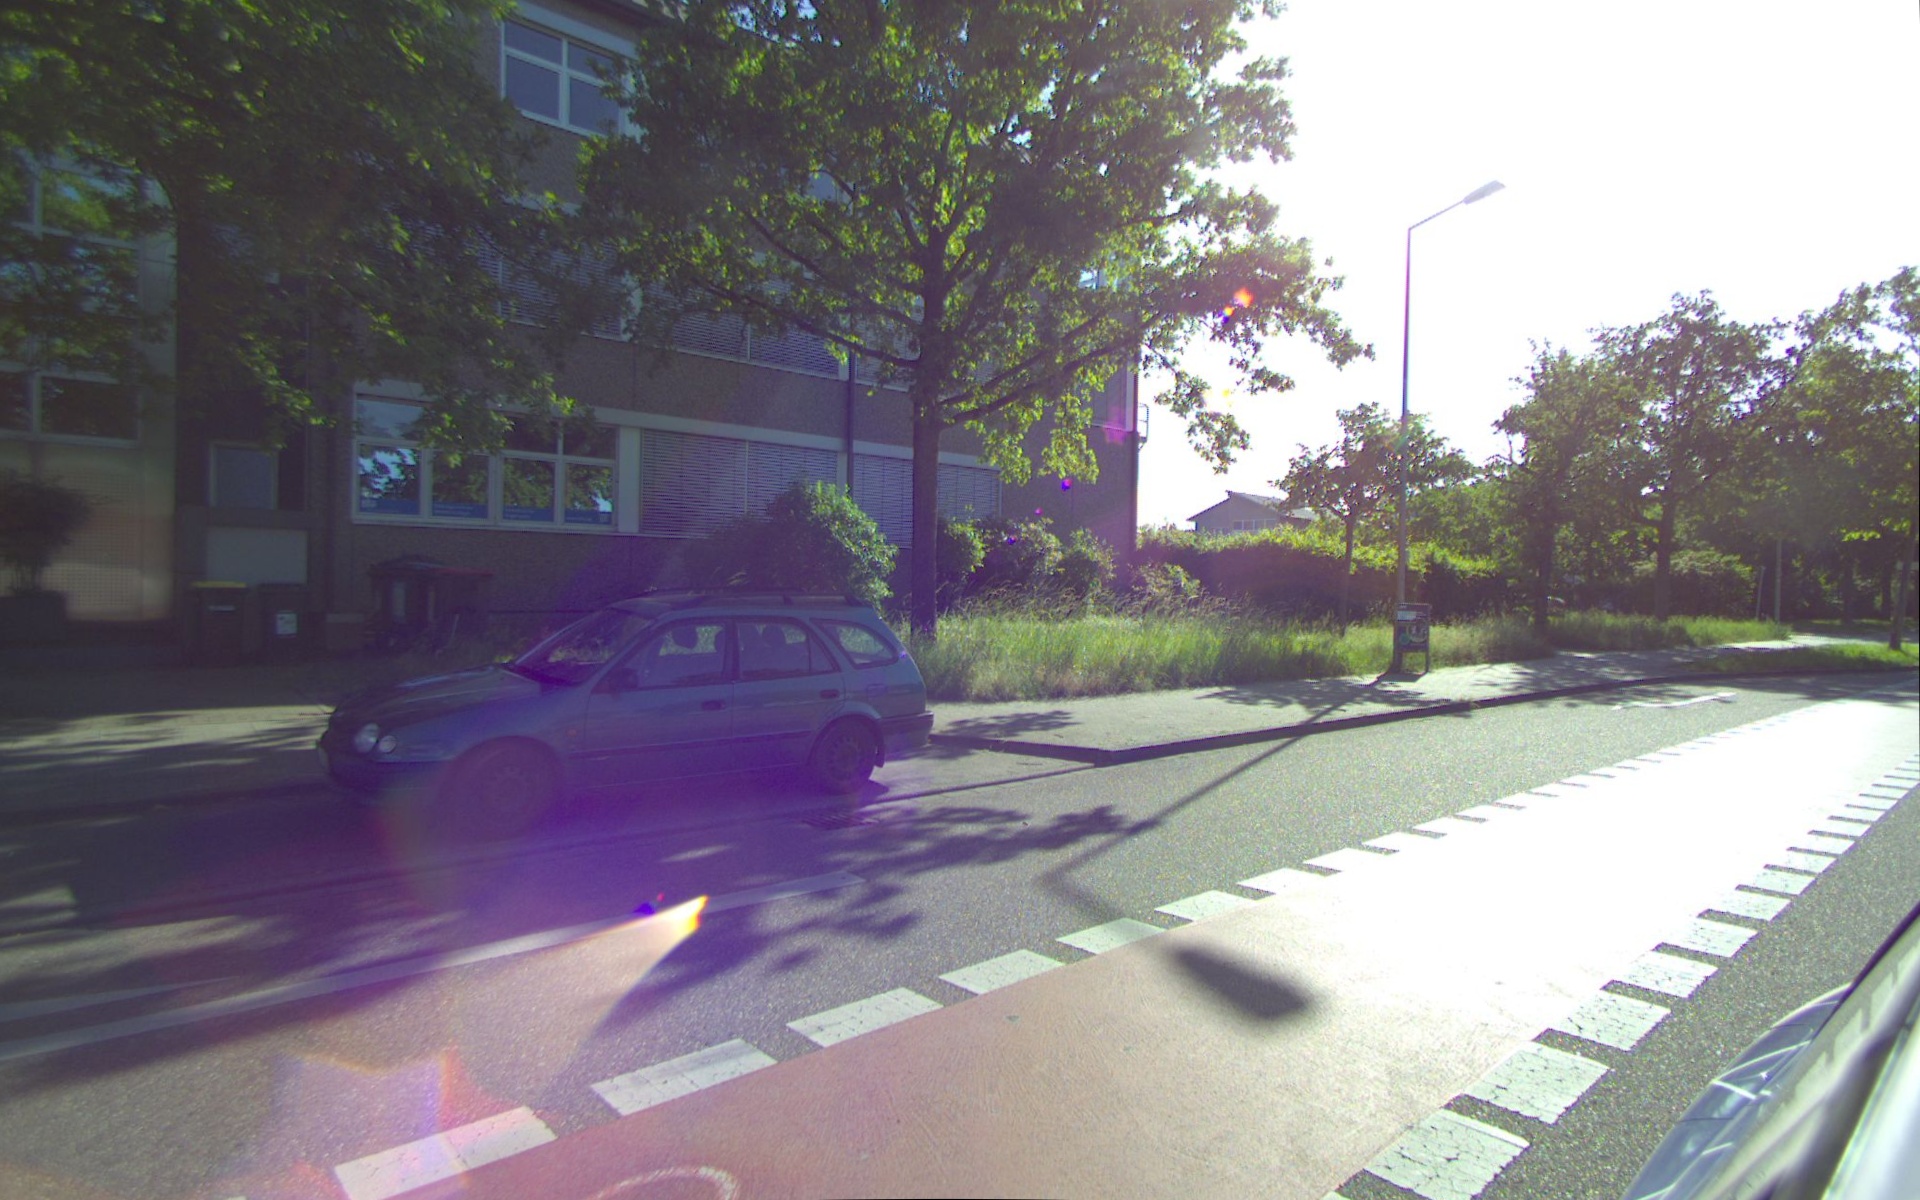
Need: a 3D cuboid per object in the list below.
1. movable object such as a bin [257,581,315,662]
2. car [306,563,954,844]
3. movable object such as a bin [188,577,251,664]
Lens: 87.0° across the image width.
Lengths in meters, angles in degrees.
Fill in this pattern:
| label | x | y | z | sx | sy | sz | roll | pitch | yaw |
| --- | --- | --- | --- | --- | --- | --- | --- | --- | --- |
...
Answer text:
| label | x | y | z | sx | sy | sz | roll | pitch | yaw |
| --- | --- | --- | --- | --- | --- | --- | --- | --- | --- |
| movable object such as a bin | -8.795 | 0.264 | 13.203 | 0.566 | 1.020 | 0.629 | -1 | 1 | -41 |
| car | -2.150 | 0.514 | 7.271 | 4.129 | 1.446 | 1.596 | 0 | 3 | -40 |
| movable object such as a bin | -9.304 | 0.238 | 12.711 | 0.571 | 1.045 | 0.713 | 1 | 1 | -41 |
